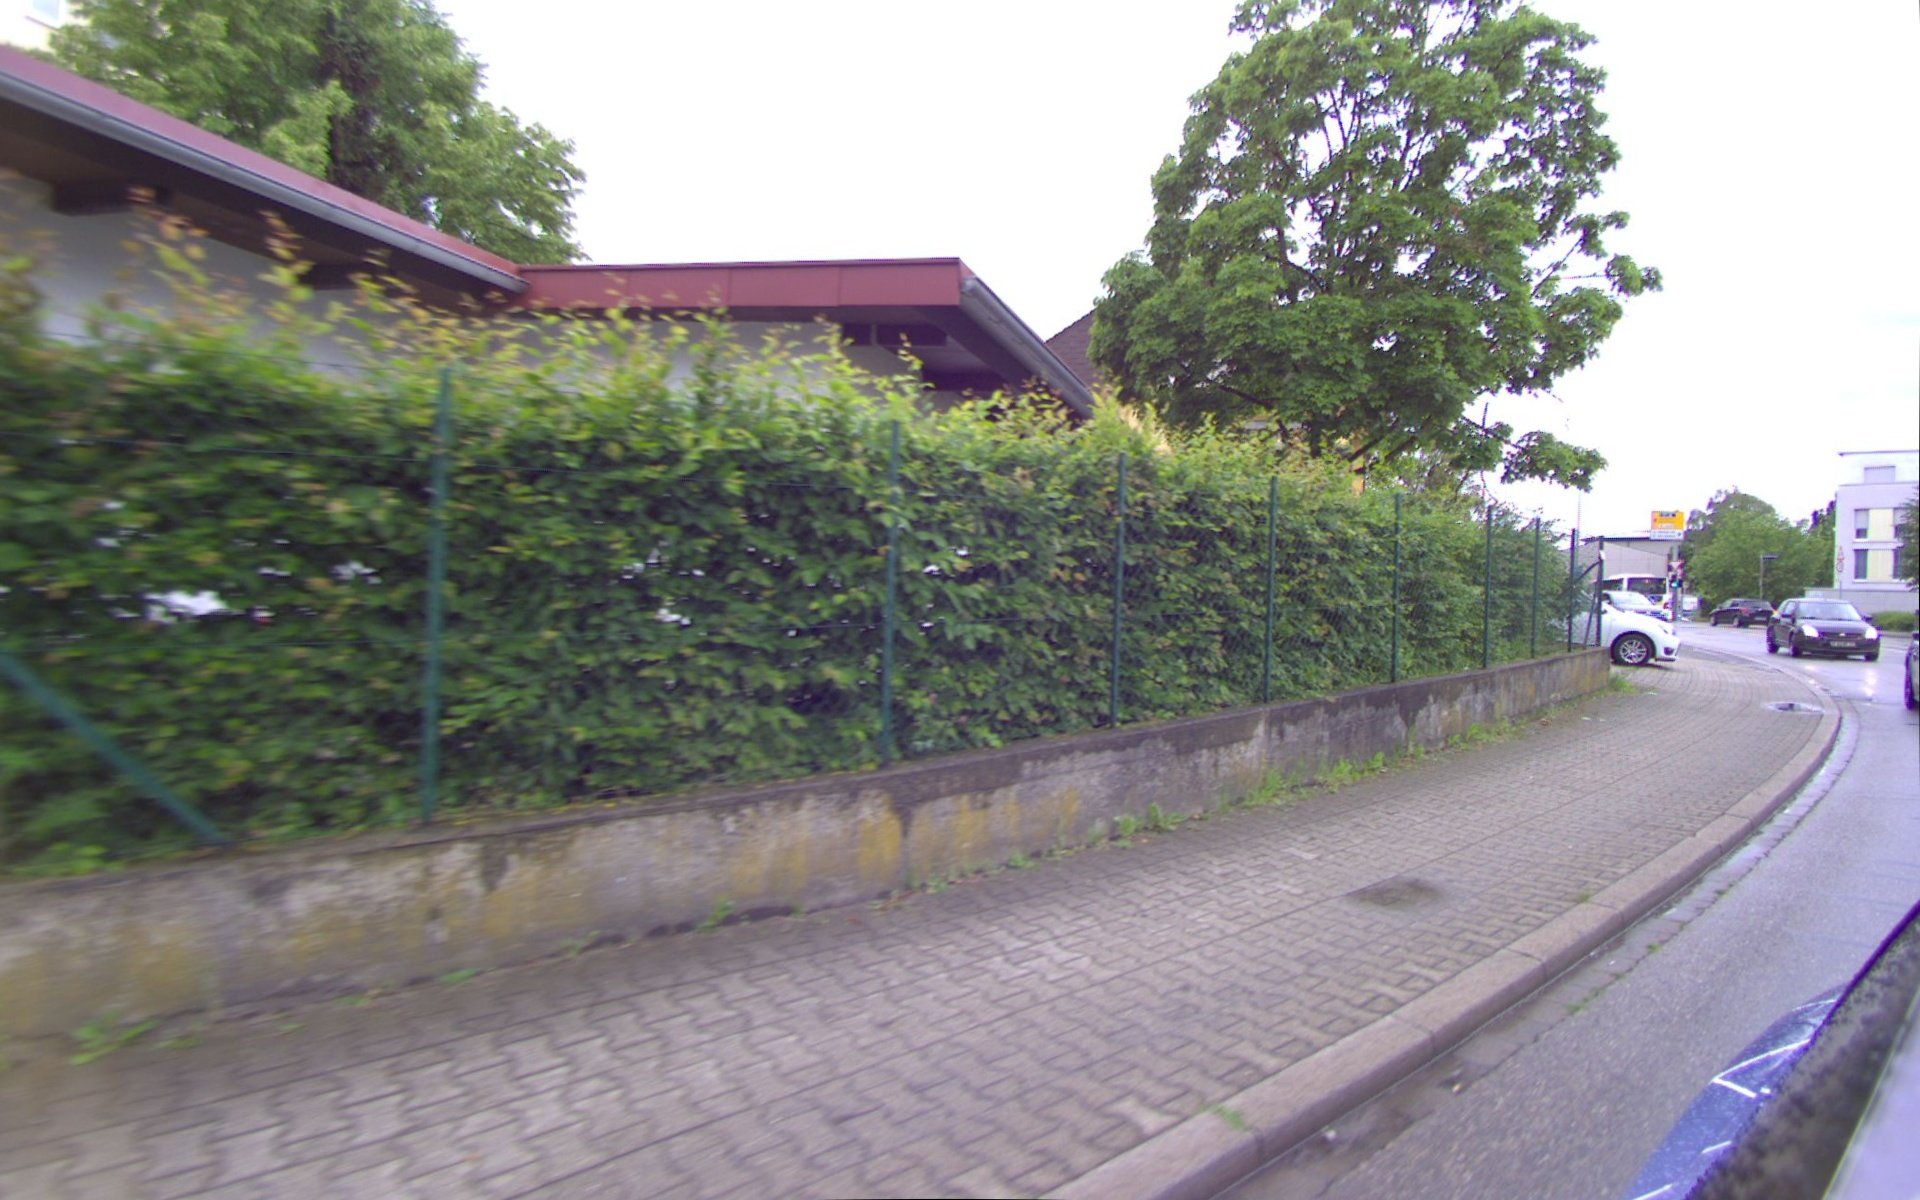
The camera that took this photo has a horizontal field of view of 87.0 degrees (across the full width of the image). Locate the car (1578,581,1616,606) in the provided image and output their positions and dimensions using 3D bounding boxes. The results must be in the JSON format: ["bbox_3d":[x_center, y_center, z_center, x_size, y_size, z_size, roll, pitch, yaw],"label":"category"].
[{"bbox_3d":[49.066,-0.520,78.027,1.520,1.838,3.583,2,2,16],"label":"car"}]

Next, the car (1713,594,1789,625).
[{"bbox_3d":[40.181,0.440,51.500,1.861,1.353,3.973,2,2,20],"label":"car"}]

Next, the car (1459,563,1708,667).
[{"bbox_3d":[12.235,0.223,20.219,3.964,1.578,1.864,6,4,27],"label":"car"}]

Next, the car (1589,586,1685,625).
[{"bbox_3d":[28.998,0.193,43.499,1.811,1.569,3.992,0,1,7],"label":"car"}]

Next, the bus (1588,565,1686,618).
[{"bbox_3d":[44.834,-0.649,67.425,2.753,3.172,10.791,2,2,20],"label":"bus"}]

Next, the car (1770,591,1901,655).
[{"bbox_3d":[22.631,0.523,26.329,1.826,1.467,3.958,1,1,30],"label":"car"}]
